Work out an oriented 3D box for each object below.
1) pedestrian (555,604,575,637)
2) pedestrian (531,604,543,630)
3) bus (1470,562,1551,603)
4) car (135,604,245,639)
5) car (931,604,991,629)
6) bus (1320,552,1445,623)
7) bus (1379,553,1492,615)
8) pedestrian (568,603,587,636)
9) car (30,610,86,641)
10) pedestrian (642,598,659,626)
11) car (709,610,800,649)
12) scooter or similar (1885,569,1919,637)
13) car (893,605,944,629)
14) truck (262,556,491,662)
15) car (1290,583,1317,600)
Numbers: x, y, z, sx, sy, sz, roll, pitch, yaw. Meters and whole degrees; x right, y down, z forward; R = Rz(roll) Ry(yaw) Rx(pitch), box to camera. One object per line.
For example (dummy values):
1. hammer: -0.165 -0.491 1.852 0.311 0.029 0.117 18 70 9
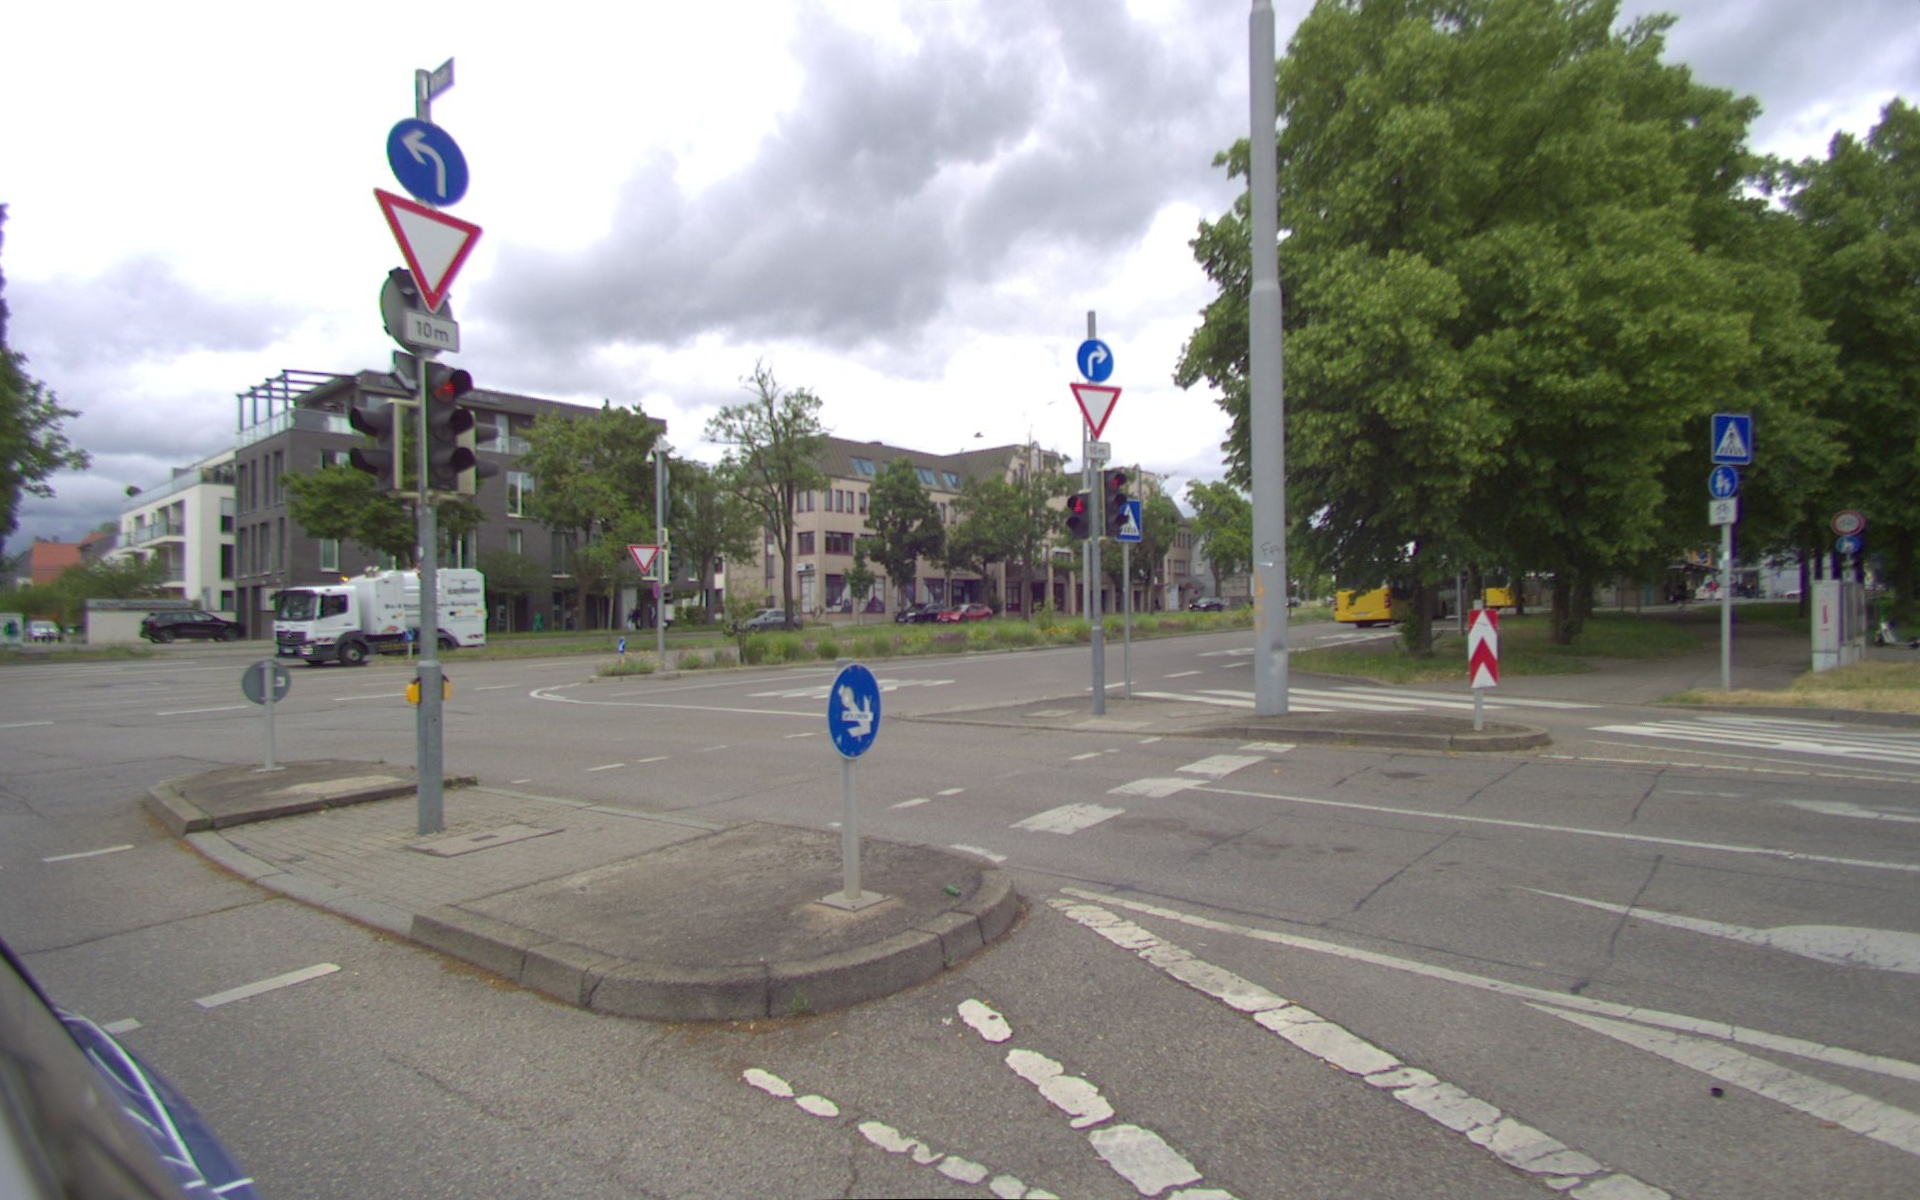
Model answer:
1. pedestrian: -21.499 1.100 55.103 0.691 1.759 0.690 -4 0 33
2. pedestrian: -22.865 0.942 54.696 0.526 1.367 0.661 -3 0 -24
3. bus: 45.455 -1.485 83.367 3.296 3.031 10.087 -4 -1 43
4. car: -38.604 1.091 50.794 1.998 1.613 4.070 -4 -3 40
5. car: 0.090 1.102 67.174 1.822 1.497 4.325 -4 -3 35
6. bus: 20.568 -0.652 48.976 3.052 3.031 8.317 -4 -1 40
7. bus: 26.354 -0.939 55.787 3.052 3.031 9.566 -4 -1 40
8. pedestrian: -20.758 1.058 54.924 0.691 1.759 0.642 -4 0 33
9. car: -55.794 1.598 62.569 3.822 1.652 1.854 -4 0 38
10. pedestrian: -18.143 0.704 59.312 0.692 1.632 0.590 -4 0 37
11. car: -10.702 1.523 53.035 1.994 1.707 4.553 -4 0 33
12. scooter or similar: 21.025 0.050 21.905 0.549 1.456 1.590 -3 0 6
13. car: -2.754 1.148 68.523 1.762 1.497 3.867 -3 -3 26
14. truck: -19.541 0.234 34.297 2.428 3.219 6.401 0 1 30
15. car: 41.727 -1.045 122.954 1.996 1.829 3.953 -4 0 35
